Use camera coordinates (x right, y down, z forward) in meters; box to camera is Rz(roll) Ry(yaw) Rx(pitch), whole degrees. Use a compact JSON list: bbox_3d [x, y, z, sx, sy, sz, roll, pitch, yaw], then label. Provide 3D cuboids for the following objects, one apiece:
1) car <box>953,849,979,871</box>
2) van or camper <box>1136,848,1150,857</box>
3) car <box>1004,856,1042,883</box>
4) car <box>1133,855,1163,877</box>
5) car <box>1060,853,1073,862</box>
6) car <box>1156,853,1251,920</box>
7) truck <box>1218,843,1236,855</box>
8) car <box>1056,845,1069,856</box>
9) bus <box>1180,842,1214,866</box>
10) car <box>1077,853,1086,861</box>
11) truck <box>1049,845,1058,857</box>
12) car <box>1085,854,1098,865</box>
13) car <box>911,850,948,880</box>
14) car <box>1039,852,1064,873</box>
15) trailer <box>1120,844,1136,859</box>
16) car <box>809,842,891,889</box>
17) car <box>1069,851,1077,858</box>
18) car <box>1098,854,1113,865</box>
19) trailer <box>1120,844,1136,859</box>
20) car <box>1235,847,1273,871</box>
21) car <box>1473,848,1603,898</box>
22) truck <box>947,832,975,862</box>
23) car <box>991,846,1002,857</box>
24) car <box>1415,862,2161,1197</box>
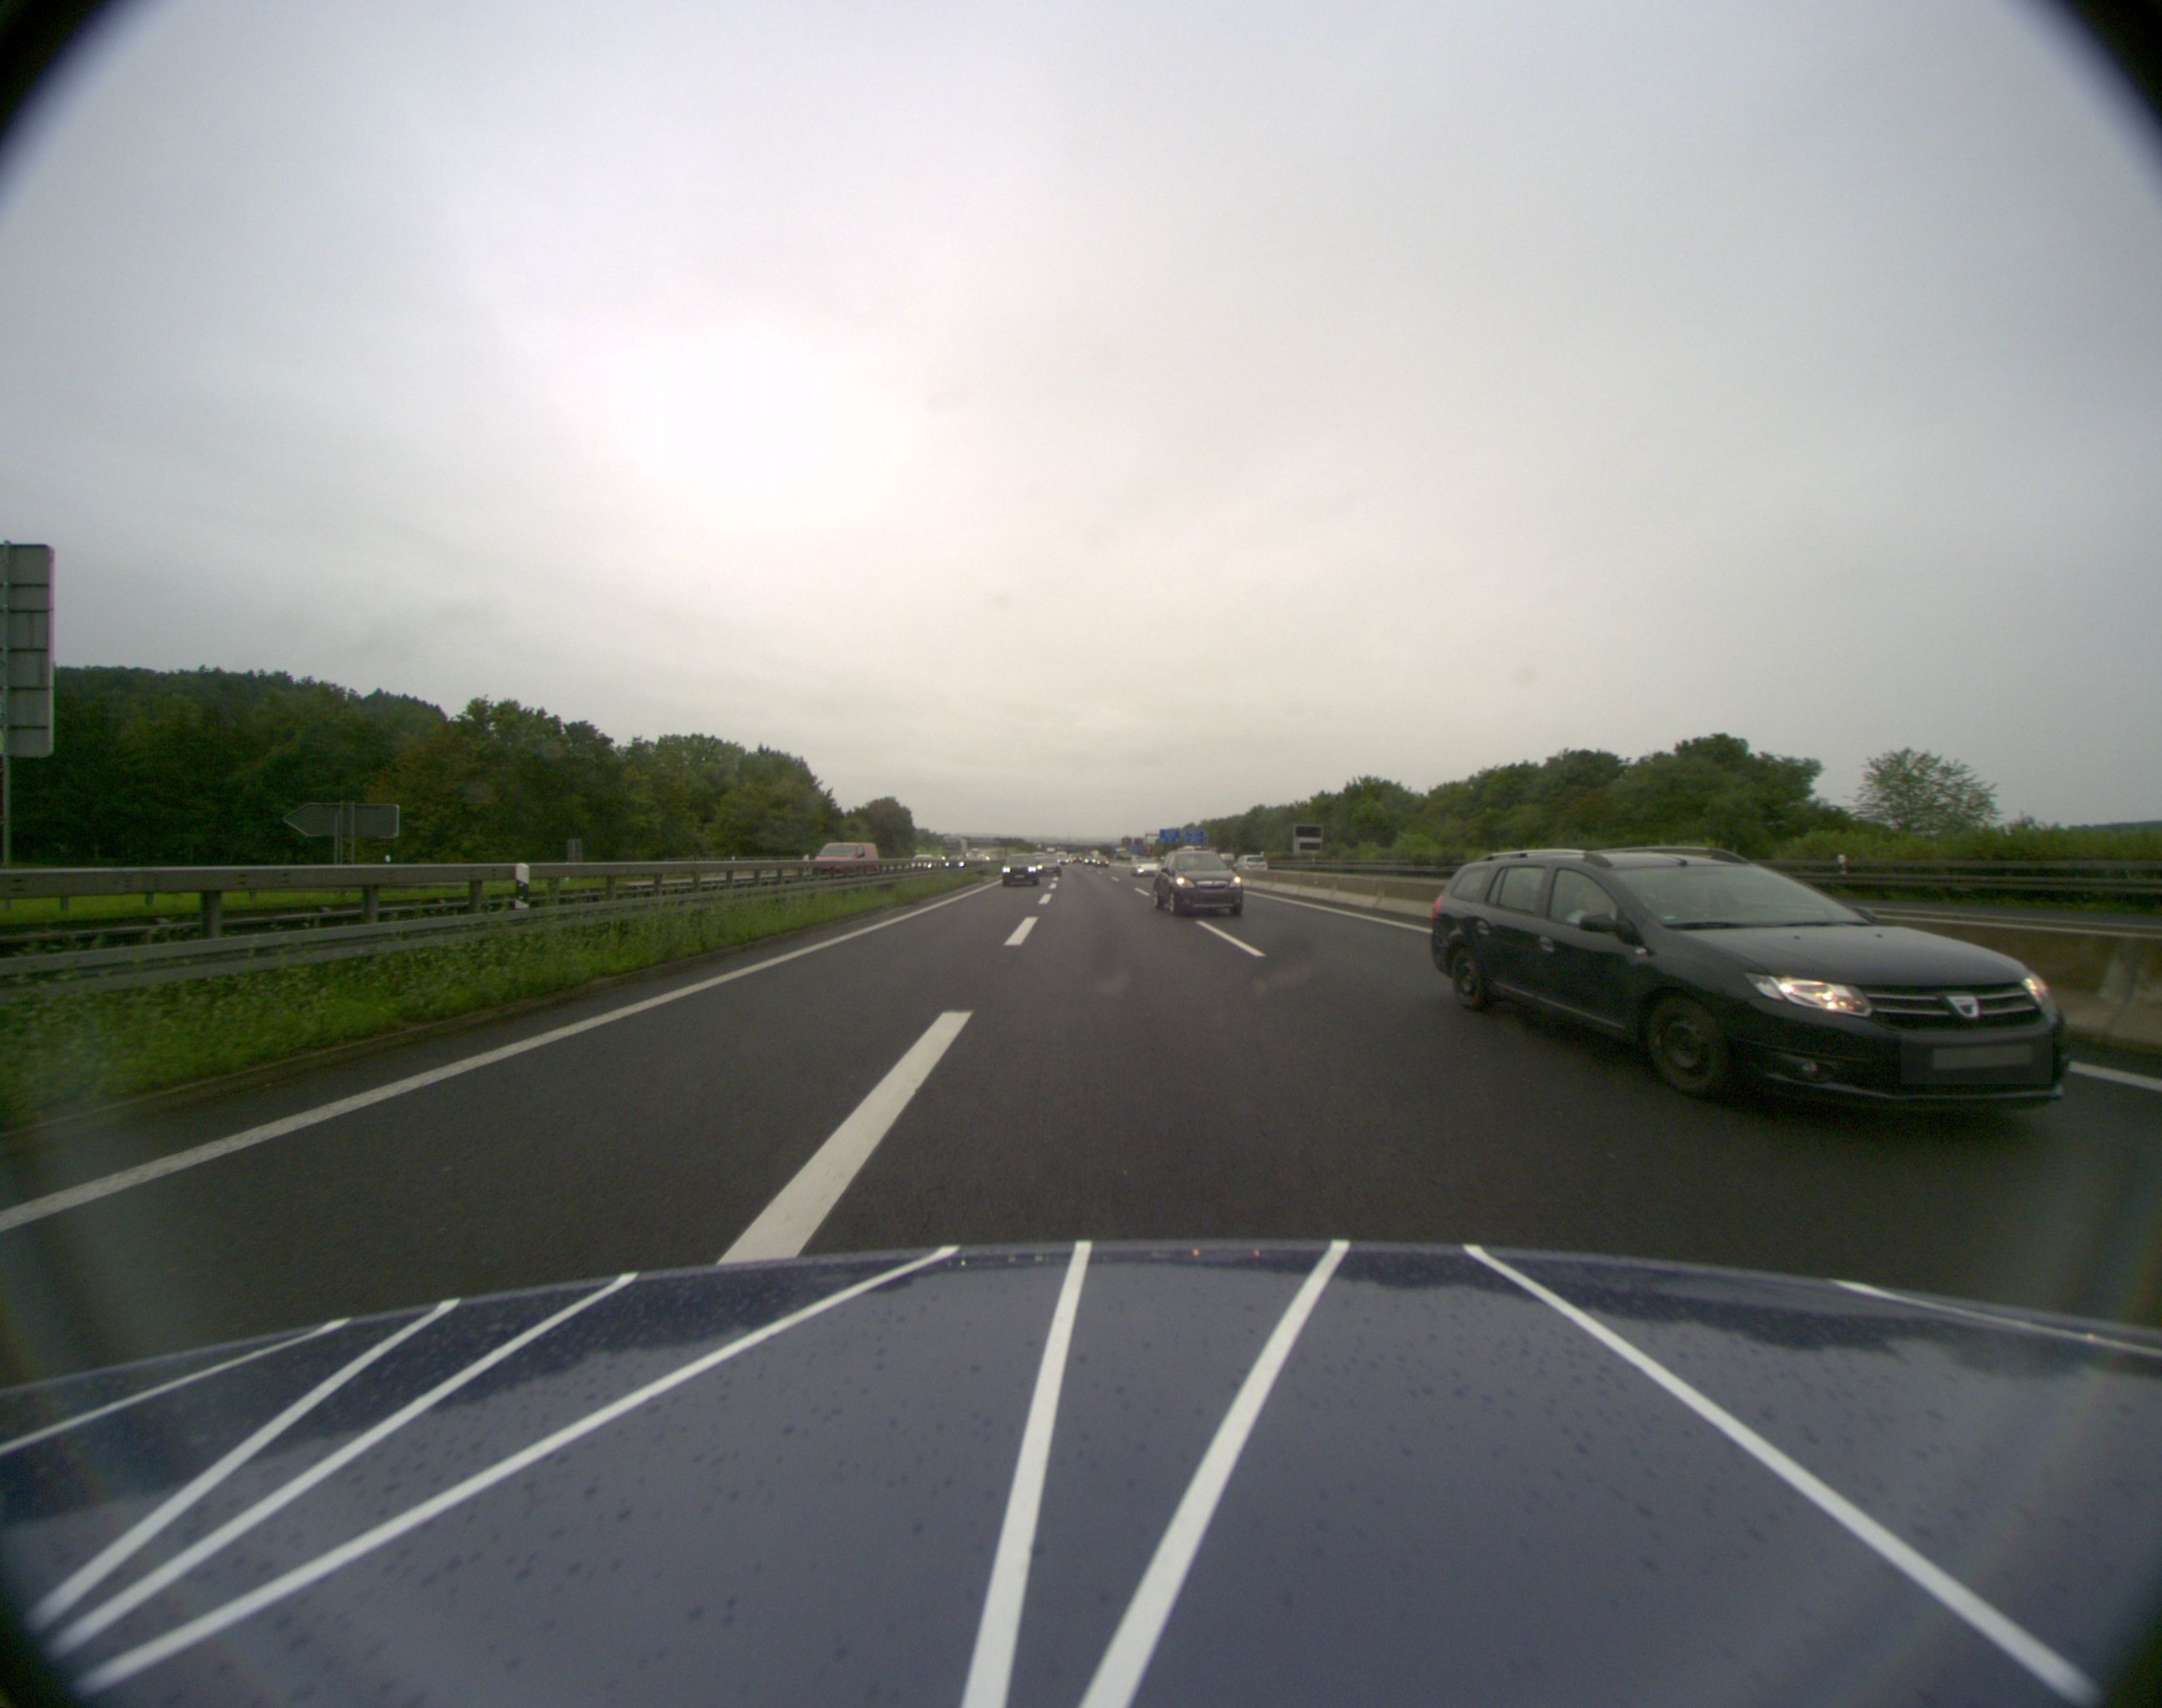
[{"bbox_3d":[-10.893,0.532,72.155,1.752,2.002,4.497,0,1,0],"label":"car"},{"bbox_3d":[10.515,-0.244,129.010,1.753,1.439,4.584,0,1,-3],"label":"van or camper"},{"bbox_3d":[-3.207,0.814,42.748,1.867,1.349,4.566,0,1,-1],"label":"car"},{"bbox_3d":[4.894,0.849,55.825,1.726,1.481,4.566,0,1,-1],"label":"car"},{"bbox_3d":[-2.506,0.538,128.456,1.920,1.481,4.565,0,1,-4],"label":"car"},{"bbox_3d":[3.128,0.775,20.185,1.813,1.571,3.834,0,1,-2],"label":"car"},{"bbox_3d":[28.679,-0.983,149.322,2.031,2.228,6.157,0,0,-5],"label":"truck"},{"bbox_3d":[-3.293,-0.614,134.833,2.016,1.994,4.565,0,1,-4],"label":"car"},{"bbox_3d":[15.651,-0.065,103.441,2.705,2.941,11.895,0,1,-1],"label":"bus"},{"bbox_3d":[0.029,0.602,155.371,1.726,1.481,4.565,0,1,-2],"label":"car"},{"bbox_3d":[-8.951,-0.939,252.267,2.799,3.878,10.025,0,1,-1],"label":"truck"},{"bbox_3d":[1.705,0.920,124.824,1.782,1.669,4.565,0,1,-2],"label":"car"},{"bbox_3d":[-10.572,0.744,53.253,1.752,2.002,4.497,0,1,-1],"label":"car"},{"bbox_3d":[-2.333,0.662,60.520,1.886,1.519,3.999,0,1,-2],"label":"car"},{"bbox_3d":[11.400,-0.627,184.270,2.911,3.727,8.924,0,1,-2],"label":"trailer"},{"bbox_3d":[-10.556,0.451,35.162,2.129,2.002,5.077,0,1,1],"label":"car"},{"bbox_3d":[-1.881,0.134,178.125,1.726,1.481,4.565,0,1,-4],"label":"car"},{"bbox_3d":[3.121,0.665,98.901,1.726,1.397,4.566,0,1,-1],"label":"car"},{"bbox_3d":[11.400,-0.627,184.270,2.911,3.727,8.924,0,1,-2],"label":"trailer"},{"bbox_3d":[13.120,0.329,57.848,1.998,1.701,4.302,0,1,1],"label":"car"},{"bbox_3d":[16.340,0.600,27.495,1.896,1.640,4.602,0,1,-1],"label":"car"},{"bbox_3d":[-16.439,-0.979,104.395,2.799,3.878,10.023,0,1,-3],"label":"truck"},{"bbox_3d":[-16.610,-0.485,149.520,1.752,2.002,4.498,0,1,1],"label":"car"},{"bbox_3d":[4.397,0.853,5.851,1.725,1.481,4.567,0,1,1],"label":"car"}]
